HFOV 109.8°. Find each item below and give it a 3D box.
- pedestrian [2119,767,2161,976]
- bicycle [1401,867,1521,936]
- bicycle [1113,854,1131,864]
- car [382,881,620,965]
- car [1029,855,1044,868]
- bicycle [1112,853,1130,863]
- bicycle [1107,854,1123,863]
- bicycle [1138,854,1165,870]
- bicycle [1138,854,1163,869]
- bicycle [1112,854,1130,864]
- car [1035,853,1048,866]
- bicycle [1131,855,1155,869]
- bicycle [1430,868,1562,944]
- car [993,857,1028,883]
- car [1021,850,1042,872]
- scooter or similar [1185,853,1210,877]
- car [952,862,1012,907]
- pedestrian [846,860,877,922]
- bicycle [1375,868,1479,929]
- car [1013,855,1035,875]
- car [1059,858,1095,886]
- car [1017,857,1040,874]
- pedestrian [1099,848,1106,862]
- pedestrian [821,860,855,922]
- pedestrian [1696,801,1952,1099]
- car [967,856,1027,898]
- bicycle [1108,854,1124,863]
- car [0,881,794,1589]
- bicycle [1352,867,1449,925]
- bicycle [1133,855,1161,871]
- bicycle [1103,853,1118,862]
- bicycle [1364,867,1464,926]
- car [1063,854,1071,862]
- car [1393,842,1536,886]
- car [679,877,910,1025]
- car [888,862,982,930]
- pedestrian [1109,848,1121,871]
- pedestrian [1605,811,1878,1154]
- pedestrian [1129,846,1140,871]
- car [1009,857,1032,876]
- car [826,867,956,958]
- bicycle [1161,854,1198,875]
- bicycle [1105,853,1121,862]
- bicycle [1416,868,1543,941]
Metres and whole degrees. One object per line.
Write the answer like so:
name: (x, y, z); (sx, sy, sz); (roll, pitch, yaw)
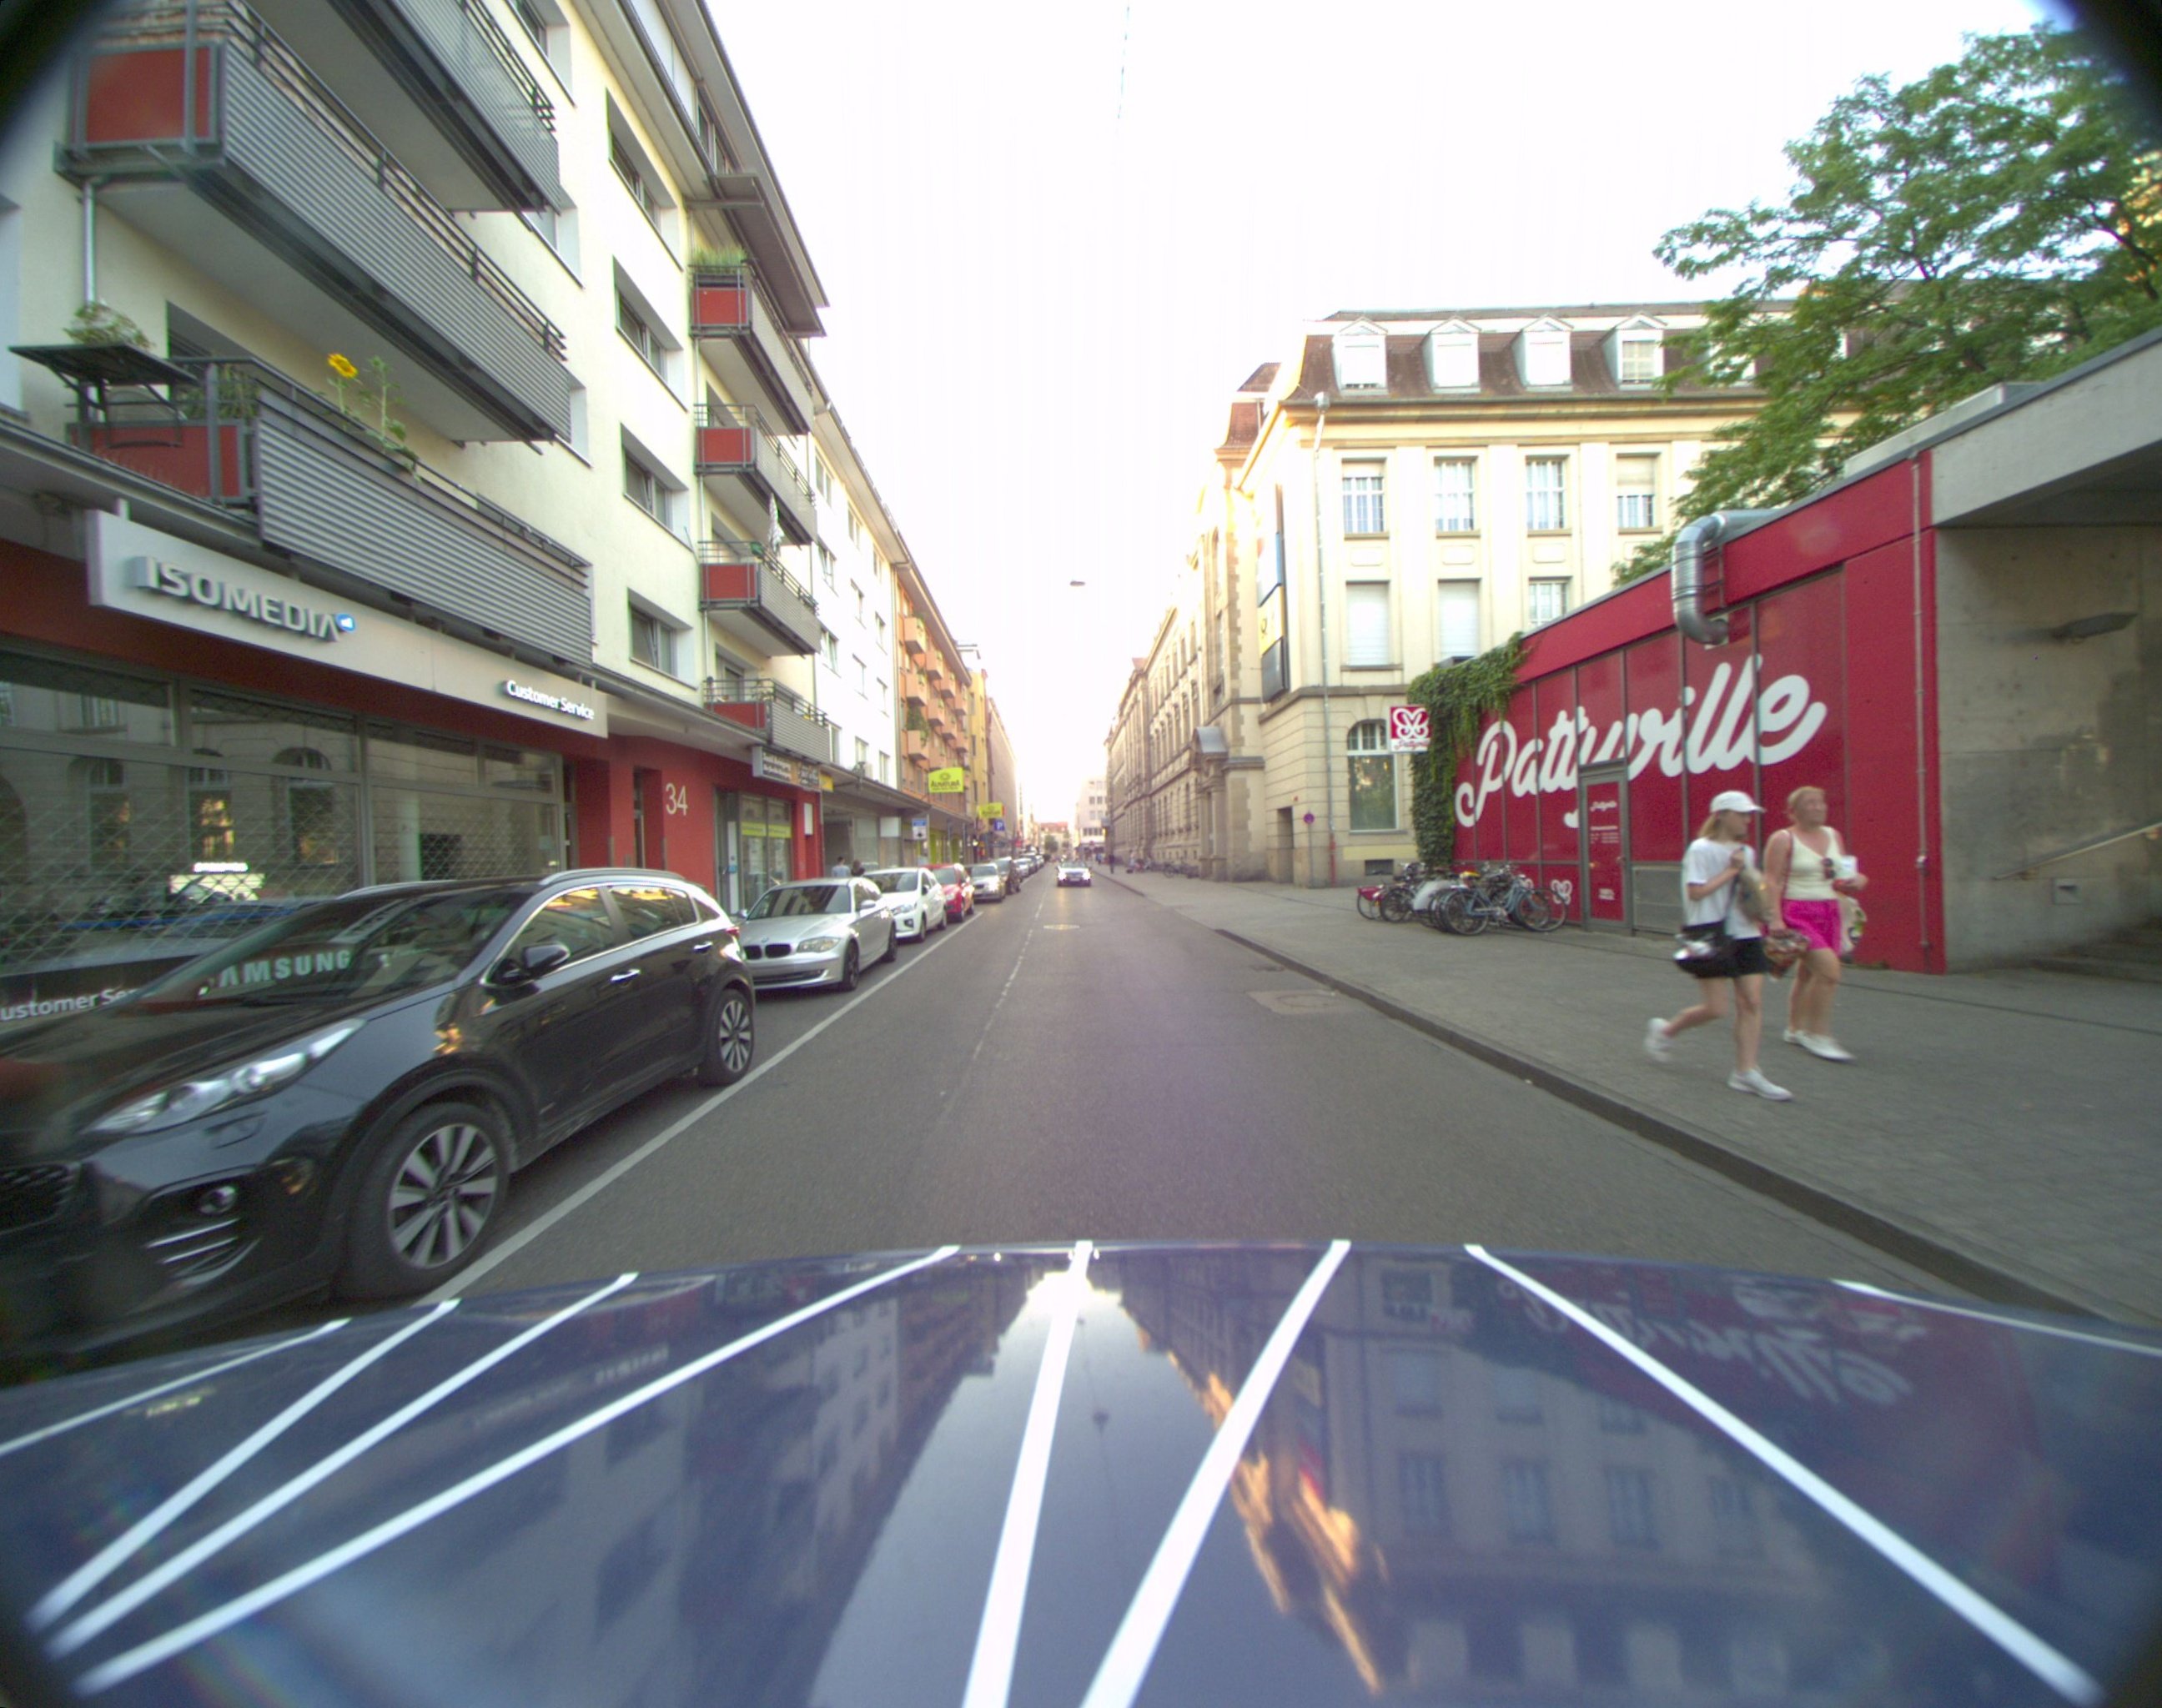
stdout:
pedestrian: (9.446, 0.128, 6.209); (0.847, 1.744, 0.719); (-3, 0, 3)
bicycle: (6.650, 0.826, 13.340); (1.798, 1.101, 0.500); (-3, 1, 2)
bicycle: (4.750, 0.615, 87.994); (1.941, 1.040, 0.721); (-3, 0, -5)
car: (-11.640, 1.310, 15.655); (1.744, 1.329, 4.000); (-2, 0, 1)
car: (-5.551, 0.920, 95.124); (1.661, 1.439, 4.307); (-3, 1, -2)
bicycle: (4.646, 0.457, 88.909); (1.942, 1.072, 0.748); (-4, 1, -2)
bicycle: (4.461, 0.541, 100.591); (1.943, 1.072, 0.729); (-4, 1, -8)
bicycle: (5.383, 0.619, 58.166); (1.943, 1.055, 0.619); (-4, 1, -7)
bicycle: (5.372, 0.582, 58.979); (1.800, 1.101, 0.500); (-4, 1, -7)
bicycle: (4.757, 0.550, 90.180); (1.943, 1.072, 0.729); (-4, 1, -8)
car: (-5.868, 0.776, 112.123); (1.781, 1.656, 4.811); (-3, 1, -3)
bicycle: (5.198, 0.636, 63.645); (1.942, 1.055, 0.619); (-4, 1, -2)
bicycle: (6.662, 0.829, 12.238); (1.798, 1.101, 0.500); (-3, 1, 2)
car: (-4.395, 0.966, 47.984); (1.696, 1.406, 4.756); (-4, 0, 0)
car: (-5.045, 0.712, 78.199); (1.851, 2.046, 5.052); (-3, 1, -2)
scooter or similar: (6.211, 0.583, 40.485); (1.137, 1.225, 0.496); (-3, 1, -13)
car: (-3.614, 1.065, 28.406); (1.741, 1.407, 4.681); (-4, 0, -3)
pedestrian: (-6.005, 0.990, 20.802); (0.649, 1.652, 0.655); (1, 1, 1)
bicycle: (6.804, 0.862, 14.983); (1.799, 1.101, 0.500); (-2, 1, -2)
car: (-4.900, 0.953, 66.000); (1.622, 1.507, 4.173); (-4, 0, -2)
car: (-0.272, 0.922, 40.440); (1.741, 1.407, 4.681); (1, 0, -3)
car: (-4.892, 1.046, 71.115); (1.691, 1.444, 4.498); (-4, 0, 0)
pedestrian: (2.795, 0.119, 99.627); (0.831, 1.736, 0.769); (-4, 1, -1)
pedestrian: (-6.652, 1.008, 20.833); (0.649, 1.652, 0.794); (1, 1, 1)
pedestrian: (4.787, 0.578, 4.967); (0.755, 1.739, 0.846); (-4, 0, -2)
car: (-3.634, 0.949, 33.782); (1.798, 1.600, 4.487); (-4, 0, 3)
bicycle: (4.459, 0.558, 97.068); (1.943, 1.072, 0.729); (-4, 1, -8)
car: (-3.442, 1.103, 4.296); (1.769, 1.632, 4.790); (-4, 0, -1)
bicycle: (6.655, 0.866, 15.862); (1.799, 1.101, 0.500); (-2, 1, -1)
bicycle: (4.974, 0.664, 57.116); (1.942, 1.055, 0.619); (-4, 1, -3)
bicycle: (4.175, 0.519, 106.886); (2.025, 1.102, 0.730); (-4, 1, -7)
bicycle: (6.791, 0.859, 15.519); (1.799, 1.101, 0.500); (-2, 1, -2)
car: (-3.123, 0.800, 171.521); (1.824, 1.728, 3.999); (-2, 0, -2)
car: (13.105, 0.327, 26.098); (4.016, 1.363, 1.750); (-2, 0, -2)
car: (-3.735, 1.162, 10.829); (1.703, 1.443, 4.457); (-4, 0, -3)
car: (-3.799, 1.022, 20.539); (1.717, 1.503, 4.651); (-4, 0, -3)
pedestrian: (2.673, 0.448, 60.421); (0.811, 1.740, 0.969); (-3, 1, -1)
pedestrian: (3.748, 0.665, 4.409); (0.651, 1.740, 0.985); (-3, 0, -2)
pedestrian: (4.119, 0.330, 58.618); (0.589, 1.840, 0.754); (-4, 1, -7)
car: (-4.790, 0.980, 60.830); (1.696, 1.403, 4.637); (-4, 0, -4)
car: (-3.821, 1.121, 16.005); (1.610, 1.503, 4.048); (-4, 0, 0)
bicycle: (5.737, 0.589, 44.265); (1.944, 1.055, 0.619); (-5, 2, -16)
bicycle: (4.426, 0.531, 104.017); (2.027, 1.072, 0.729); (-4, 1, -20)
bicycle: (6.646, 0.828, 12.708); (1.798, 1.101, 0.500); (-3, 1, 2)
